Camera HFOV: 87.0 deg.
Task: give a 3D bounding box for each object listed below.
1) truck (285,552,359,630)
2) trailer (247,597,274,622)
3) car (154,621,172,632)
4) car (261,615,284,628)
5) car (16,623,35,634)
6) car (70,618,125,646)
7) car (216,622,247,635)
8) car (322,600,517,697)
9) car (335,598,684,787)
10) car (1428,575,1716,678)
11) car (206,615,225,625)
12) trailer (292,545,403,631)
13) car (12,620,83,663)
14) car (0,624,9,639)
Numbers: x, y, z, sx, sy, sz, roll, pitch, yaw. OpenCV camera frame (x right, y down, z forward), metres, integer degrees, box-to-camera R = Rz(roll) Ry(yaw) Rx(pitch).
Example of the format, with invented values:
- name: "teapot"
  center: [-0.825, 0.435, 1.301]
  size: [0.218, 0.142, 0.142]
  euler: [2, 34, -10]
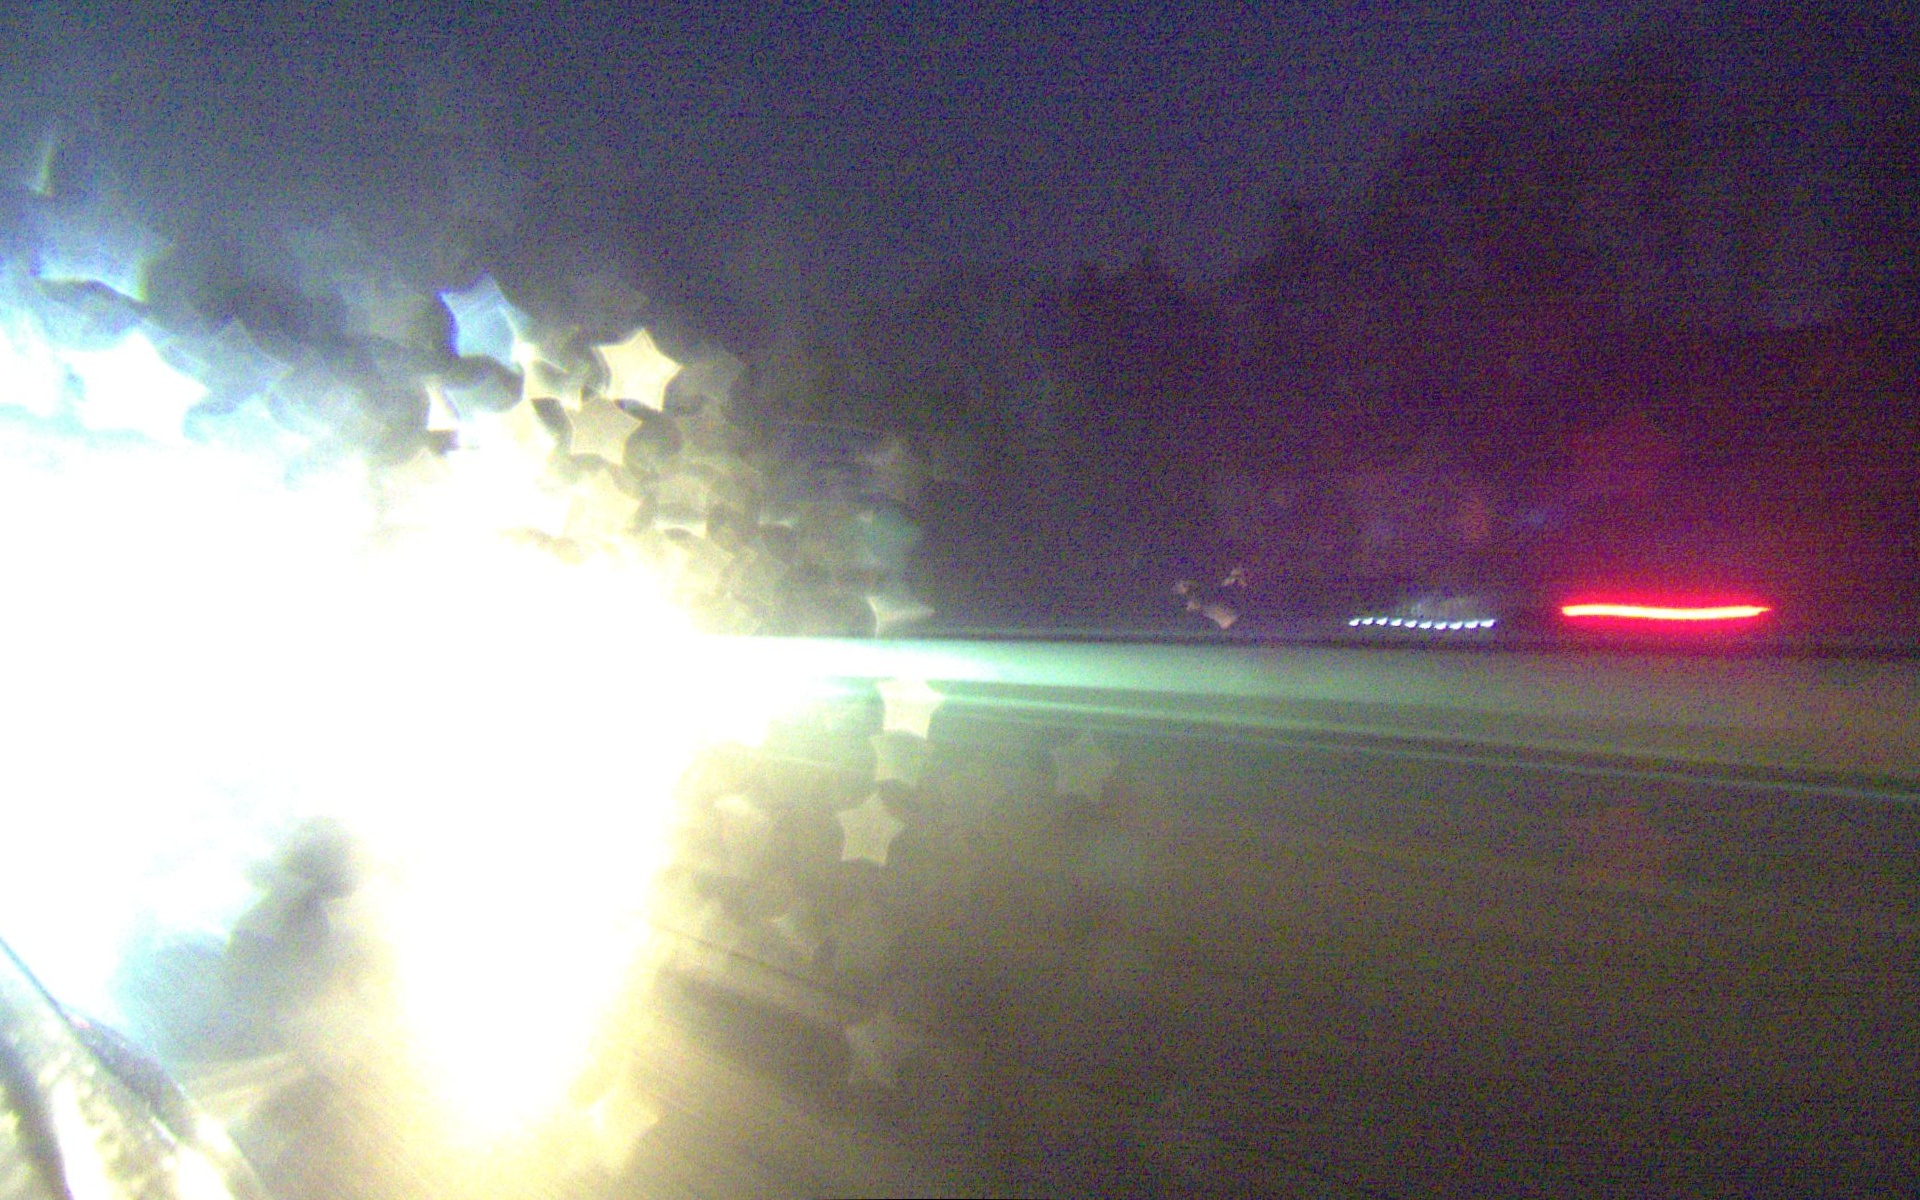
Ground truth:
- name: "truck"
  center: [-54.063, -0.748, 85.713]
  size: [6.173, 6.172, 3.426]
  euler: [-1, 4, 43]
- name: "trailer"
  center: [-147.394, 1.981, 213.181]
  size: [3.224, 5.106, 13.991]
  euler: [-2, 1, -41]
- name: "car"
  center: [-134.106, 4.490, 170.307]
  size: [1.970, 1.607, 5.027]
  euler: [-5, 3, -41]
- name: "car"
  center: [-87.088, 2.759, 128.165]
  size: [1.755, 1.482, 3.990]
  euler: [-4, 2, -42]
- name: "car"
  center: [-115.711, 3.539, 125.300]
  size: [1.669, 1.165, 3.424]
  euler: [-5, 3, -43]
- name: "car"
  center: [-56.189, 2.056, 65.925]
  size: [3.872, 1.621, 2.279]
  euler: [-1, 1, 43]
- name: "car"
  center: [-71.897, 2.784, 99.897]
  size: [3.657, 1.164, 1.685]
  euler: [-1, 1, 41]
- name: "car"
  center: [-11.616, 0.956, 21.617]
  size: [4.883, 1.790, 1.974]
  euler: [-1, 1, 40]
- name: "car"
  center: [-5.008, 0.829, 10.973]
  size: [4.232, 1.606, 1.895]
  euler: [-1, 1, 42]
- name: "car"
  center: [11.144, 0.438, 18.584]
  size: [4.251, 1.655, 1.973]
  euler: [-1, 1, 41]
- name: "car"
  center: [-130.751, 3.434, 177.778]
  size: [5.152, 1.607, 1.757]
  euler: [-1, 2, 44]
- name: "trailer"
  center: [-49.295, -0.854, 81.144]
  size: [14.409, 6.172, 3.426]
  euler: [-1, 4, 44]
- name: "car"
  center: [-39.159, 1.735, 43.400]
  size: [4.001, 1.689, 1.971]
  euler: [-1, 1, 44]
- name: "car"
  center: [-81.343, 2.650, 85.256]
  size: [3.422, 1.165, 1.670]
  euler: [-1, 1, 45]
